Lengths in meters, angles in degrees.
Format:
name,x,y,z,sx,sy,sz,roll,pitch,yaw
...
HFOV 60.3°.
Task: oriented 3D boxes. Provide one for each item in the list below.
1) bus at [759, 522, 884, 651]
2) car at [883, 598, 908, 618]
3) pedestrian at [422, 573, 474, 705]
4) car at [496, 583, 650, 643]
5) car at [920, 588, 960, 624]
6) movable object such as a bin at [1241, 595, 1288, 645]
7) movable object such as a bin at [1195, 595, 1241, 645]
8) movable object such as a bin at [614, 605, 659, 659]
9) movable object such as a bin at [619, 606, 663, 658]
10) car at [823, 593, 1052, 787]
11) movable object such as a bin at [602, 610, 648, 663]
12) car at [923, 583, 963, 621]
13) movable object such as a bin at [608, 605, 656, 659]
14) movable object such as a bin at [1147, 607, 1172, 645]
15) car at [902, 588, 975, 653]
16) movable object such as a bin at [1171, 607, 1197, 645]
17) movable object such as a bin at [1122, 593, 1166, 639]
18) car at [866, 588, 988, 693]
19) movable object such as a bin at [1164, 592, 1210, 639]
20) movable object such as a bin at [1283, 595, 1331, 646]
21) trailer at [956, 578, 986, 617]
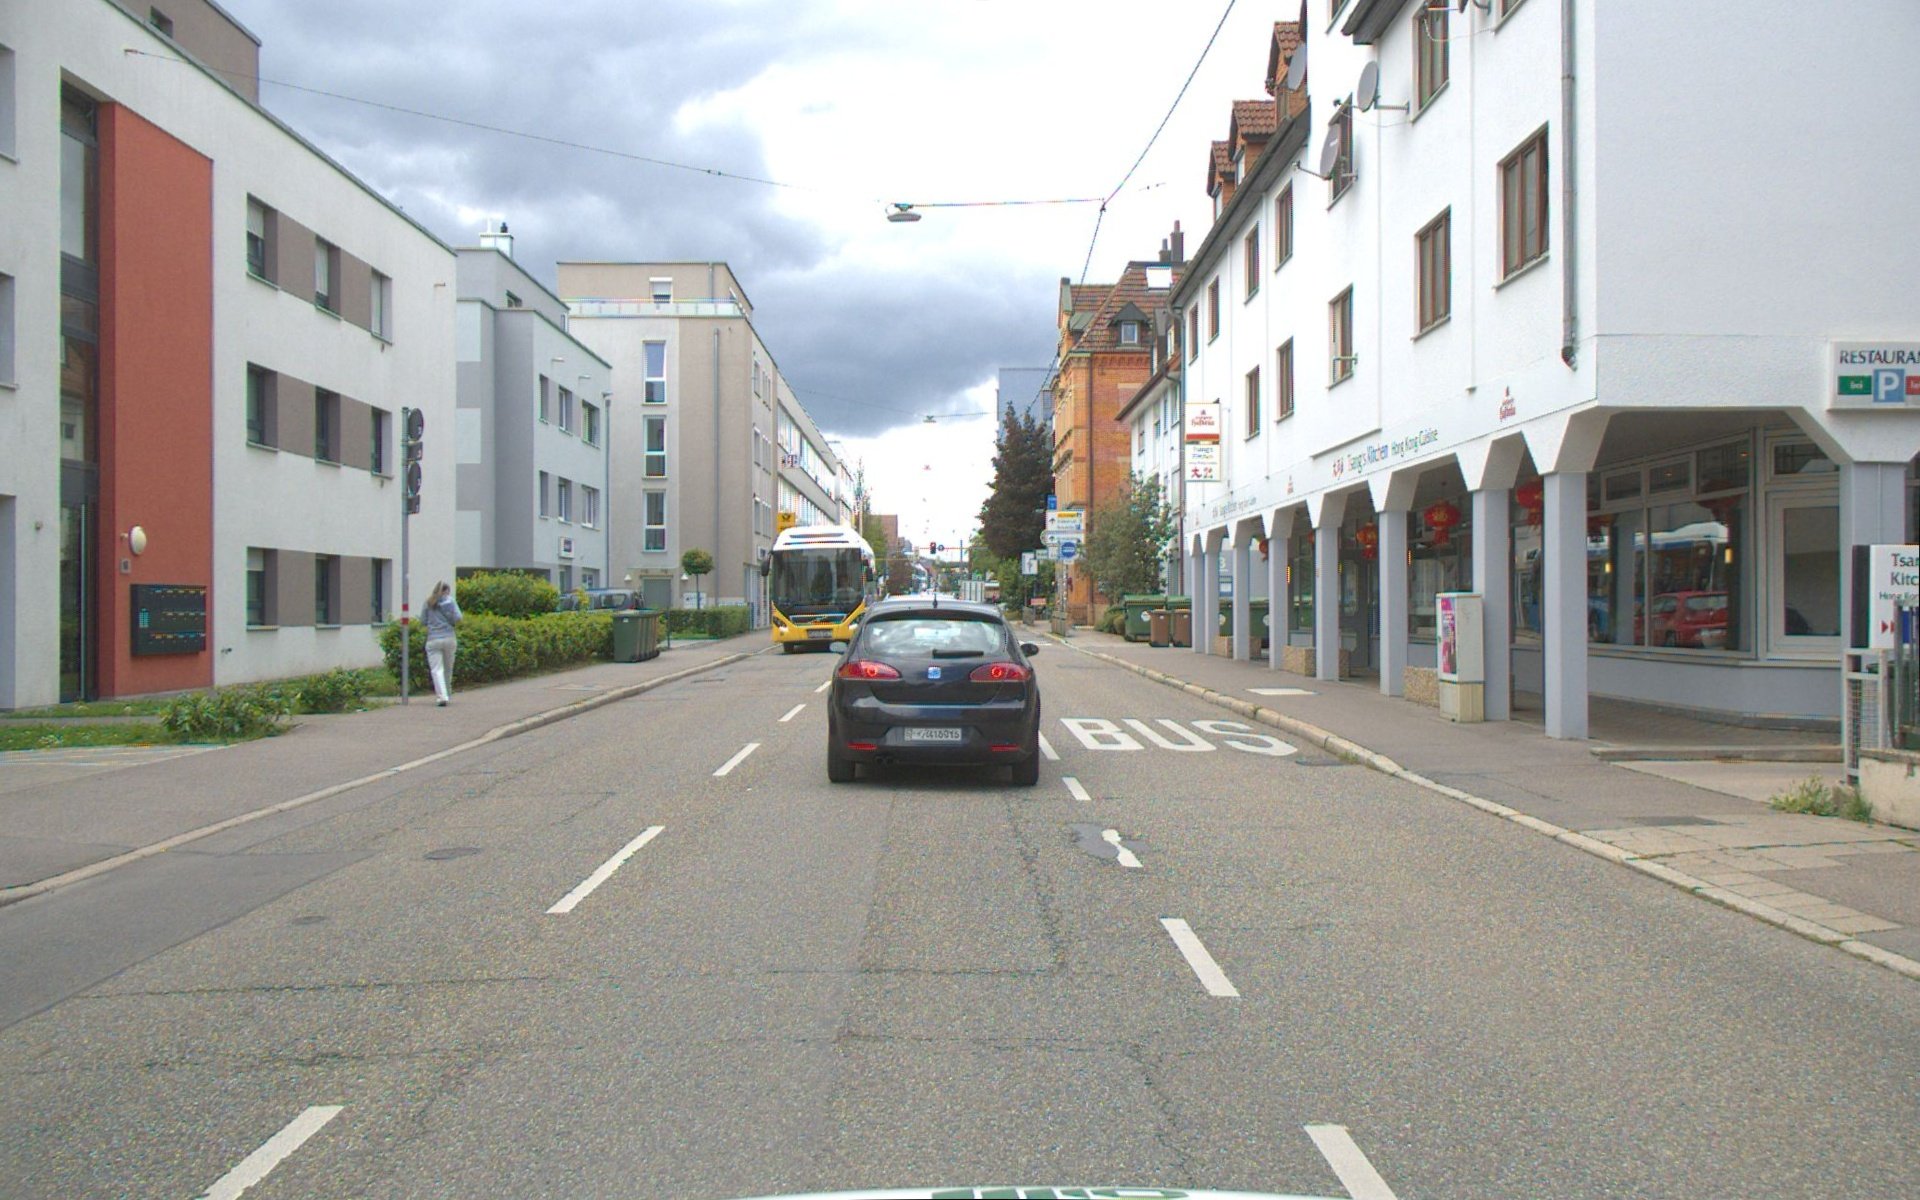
name,x,y,z,sx,sy,sz,roll,pitch,yaw
bus,-3.934,-0.389,49.679,2.883,3.331,12.005,-2,0,-1
car,-5.112,0.601,130.975,1.840,1.476,4.213,-3,0,-1
pedestrian,-6.619,0.494,21.399,0.628,1.671,0.518,0,0,-16
car,-11.353,0.378,48.644,4.076,1.697,1.725,0,0,2
car,-0.909,0.258,73.393,1.767,1.580,3.736,0,0,-1
movable object such as a bin,8.791,0.575,47.862,1.184,1.442,1.260,0,0,3
movable object such as a bin,7.455,0.575,47.858,1.184,1.442,1.260,0,0,3
movable object such as a bin,-7.253,0.711,37.115,0.930,1.171,0.748,0,0,-5
movable object such as a bin,-7.288,0.726,37.812,0.922,1.171,0.612,0,0,-5
car,-0.194,0.668,14.377,1.729,1.458,3.828,0,0,-1
movable object such as a bin,-7.165,0.775,35.404,0.877,1.108,0.792,0,0,-5
car,-0.796,0.090,75.041,1.767,1.629,3.736,1,0,-1
movable object such as a bin,-7.191,0.690,36.296,0.937,1.171,0.839,0,0,-5
movable object such as a bin,5.805,0.765,48.207,0.669,1.086,0.972,0,0,3
car,-0.556,0.488,41.766,1.767,1.580,3.736,0,0,-1
movable object such as a bin,6.520,0.754,48.192,0.683,1.098,0.972,0,0,3
movable object such as a bin,5.783,0.503,52.129,1.241,1.442,1.162,0,0,-1
car,-0.524,0.580,25.958,1.767,1.519,3.736,0,0,-1
movable object such as a bin,7.113,0.477,51.840,1.241,1.460,1.307,0,0,-1
movable object such as a bin,10.022,0.578,47.835,1.184,1.442,1.260,0,0,3
trailer,0.753,-0.192,116.128,1.953,2.653,5.347,0,0,-1
